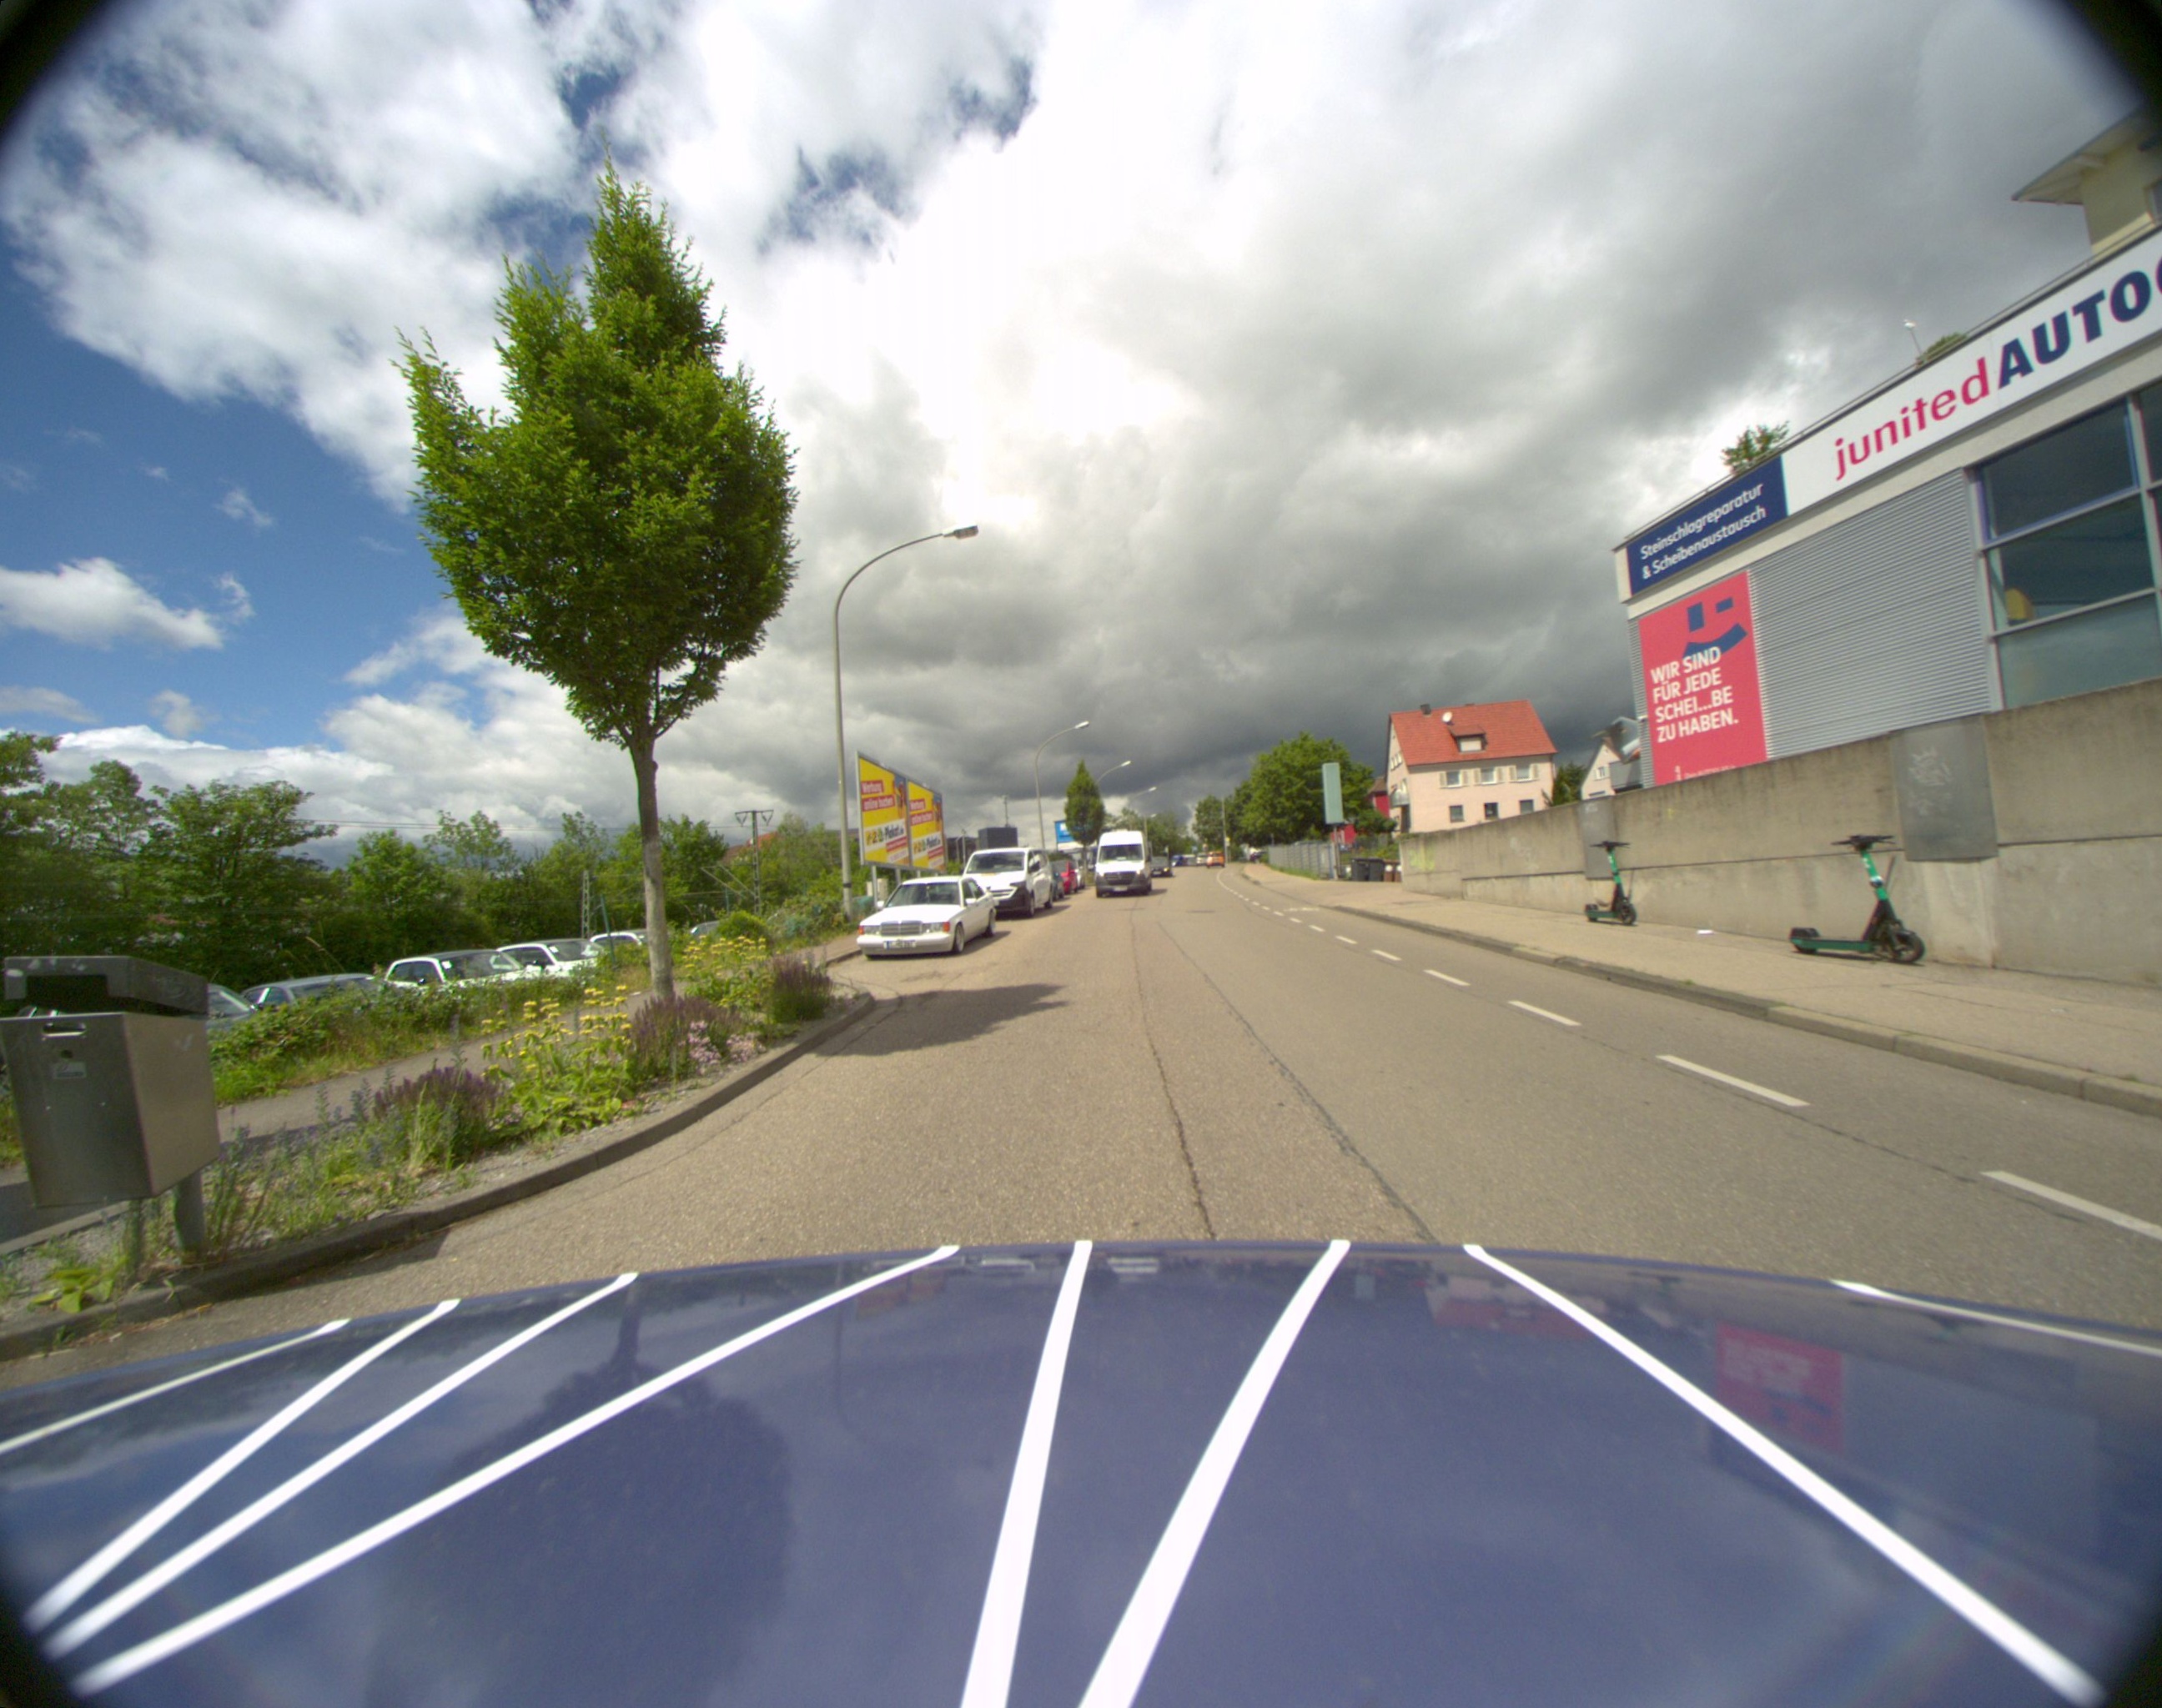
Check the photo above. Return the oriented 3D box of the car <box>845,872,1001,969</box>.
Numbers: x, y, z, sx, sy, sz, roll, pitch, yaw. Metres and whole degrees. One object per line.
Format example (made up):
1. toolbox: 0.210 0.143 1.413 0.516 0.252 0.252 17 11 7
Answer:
1. car: -2.798 1.135 14.444 1.641 1.379 4.206 -3 0 6

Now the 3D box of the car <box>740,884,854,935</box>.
1. car: -10.247 1.958 27.809 1.819 1.433 4.558 -3 0 9

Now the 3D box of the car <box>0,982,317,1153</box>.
1. car: -12.681 2.736 10.357 3.991 1.626 1.719 -3 0 22

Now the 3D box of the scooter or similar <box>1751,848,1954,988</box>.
1. scooter or similar: 7.869 0.602 7.834 0.521 1.268 1.383 -5 1 -6

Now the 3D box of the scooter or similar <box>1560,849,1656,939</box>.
1. scooter or similar: 8.019 0.576 11.623 0.558 1.268 1.306 -3 0 4

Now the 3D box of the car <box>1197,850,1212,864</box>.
1. car: 14.592 0.302 90.058 1.645 1.523 4.224 -3 0 9

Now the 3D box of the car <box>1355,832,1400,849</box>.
1. car: 30.314 -1.367 77.655 4.014 1.497 1.587 -3 0 13

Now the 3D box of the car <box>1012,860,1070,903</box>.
1. car: -1.485 1.024 29.593 1.596 1.442 3.981 -3 0 6

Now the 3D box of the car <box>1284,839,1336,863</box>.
1. car: 19.657 -0.270 65.376 3.952 1.766 1.524 -3 0 6

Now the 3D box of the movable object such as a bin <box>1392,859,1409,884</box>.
1. movable object such as a bin: 13.175 0.723 31.327 0.515 1.039 0.517 0 1 6

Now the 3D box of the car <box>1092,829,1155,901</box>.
1. car: 1.871 0.401 31.314 2.081 2.576 6.065 -3 0 6

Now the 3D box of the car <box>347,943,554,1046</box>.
1. car: -12.715 2.725 15.308 3.990 1.630 1.643 -3 0 26

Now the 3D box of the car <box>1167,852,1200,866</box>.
1. car: 17.087 0.872 126.537 5.138 1.957 1.957 -3 0 -31

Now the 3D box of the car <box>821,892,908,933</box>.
1. car: -9.266 2.478 33.007 1.819 1.343 4.558 -3 0 9

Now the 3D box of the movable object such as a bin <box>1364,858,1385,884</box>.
1. movable object such as a bin: 12.111 0.695 31.372 0.664 1.074 0.517 0 1 6

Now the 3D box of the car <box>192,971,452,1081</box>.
1. car: -13.138 2.871 13.156 3.991 1.373 1.667 -3 0 21

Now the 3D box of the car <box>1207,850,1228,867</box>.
1. car: 12.905 0.429 71.644 1.603 1.482 3.685 -3 0 14

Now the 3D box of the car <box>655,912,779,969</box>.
1. car: -11.031 2.578 23.328 1.575 1.252 3.713 -3 0 8

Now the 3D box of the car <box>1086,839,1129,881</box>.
1. car: 1.883 0.364 51.473 2.058 2.579 5.738 -3 0 10

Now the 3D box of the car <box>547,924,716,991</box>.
1. car: -11.910 2.718 20.156 3.991 1.482 1.648 -3 0 20

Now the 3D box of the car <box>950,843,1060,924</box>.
1. car: -2.045 0.770 22.419 1.979 1.992 5.549 -3 0 6

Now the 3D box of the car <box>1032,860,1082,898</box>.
1. car: -1.003 1.064 33.735 1.596 1.473 3.502 -3 0 7

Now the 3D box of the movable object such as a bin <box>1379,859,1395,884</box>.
1. movable object such as a bin: 12.676 0.723 31.460 0.503 1.054 0.498 0 1 6

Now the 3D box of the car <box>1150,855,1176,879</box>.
1. car: 5.512 0.849 51.592 1.584 1.497 3.958 -3 0 5

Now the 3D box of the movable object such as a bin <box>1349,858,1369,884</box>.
1. movable object such as a bin: 11.509 0.689 31.470 0.664 1.074 0.517 0 1 6

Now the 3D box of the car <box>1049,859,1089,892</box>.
1. car: -0.567 1.073 38.467 1.596 1.514 2.859 -3 0 5

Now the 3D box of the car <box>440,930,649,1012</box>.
1. car: -12.568 2.724 17.873 3.993 1.589 1.795 -3 0 15

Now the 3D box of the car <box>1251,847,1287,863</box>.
1. car: 21.120 0.121 85.404 3.853 1.497 1.587 -3 0 13
